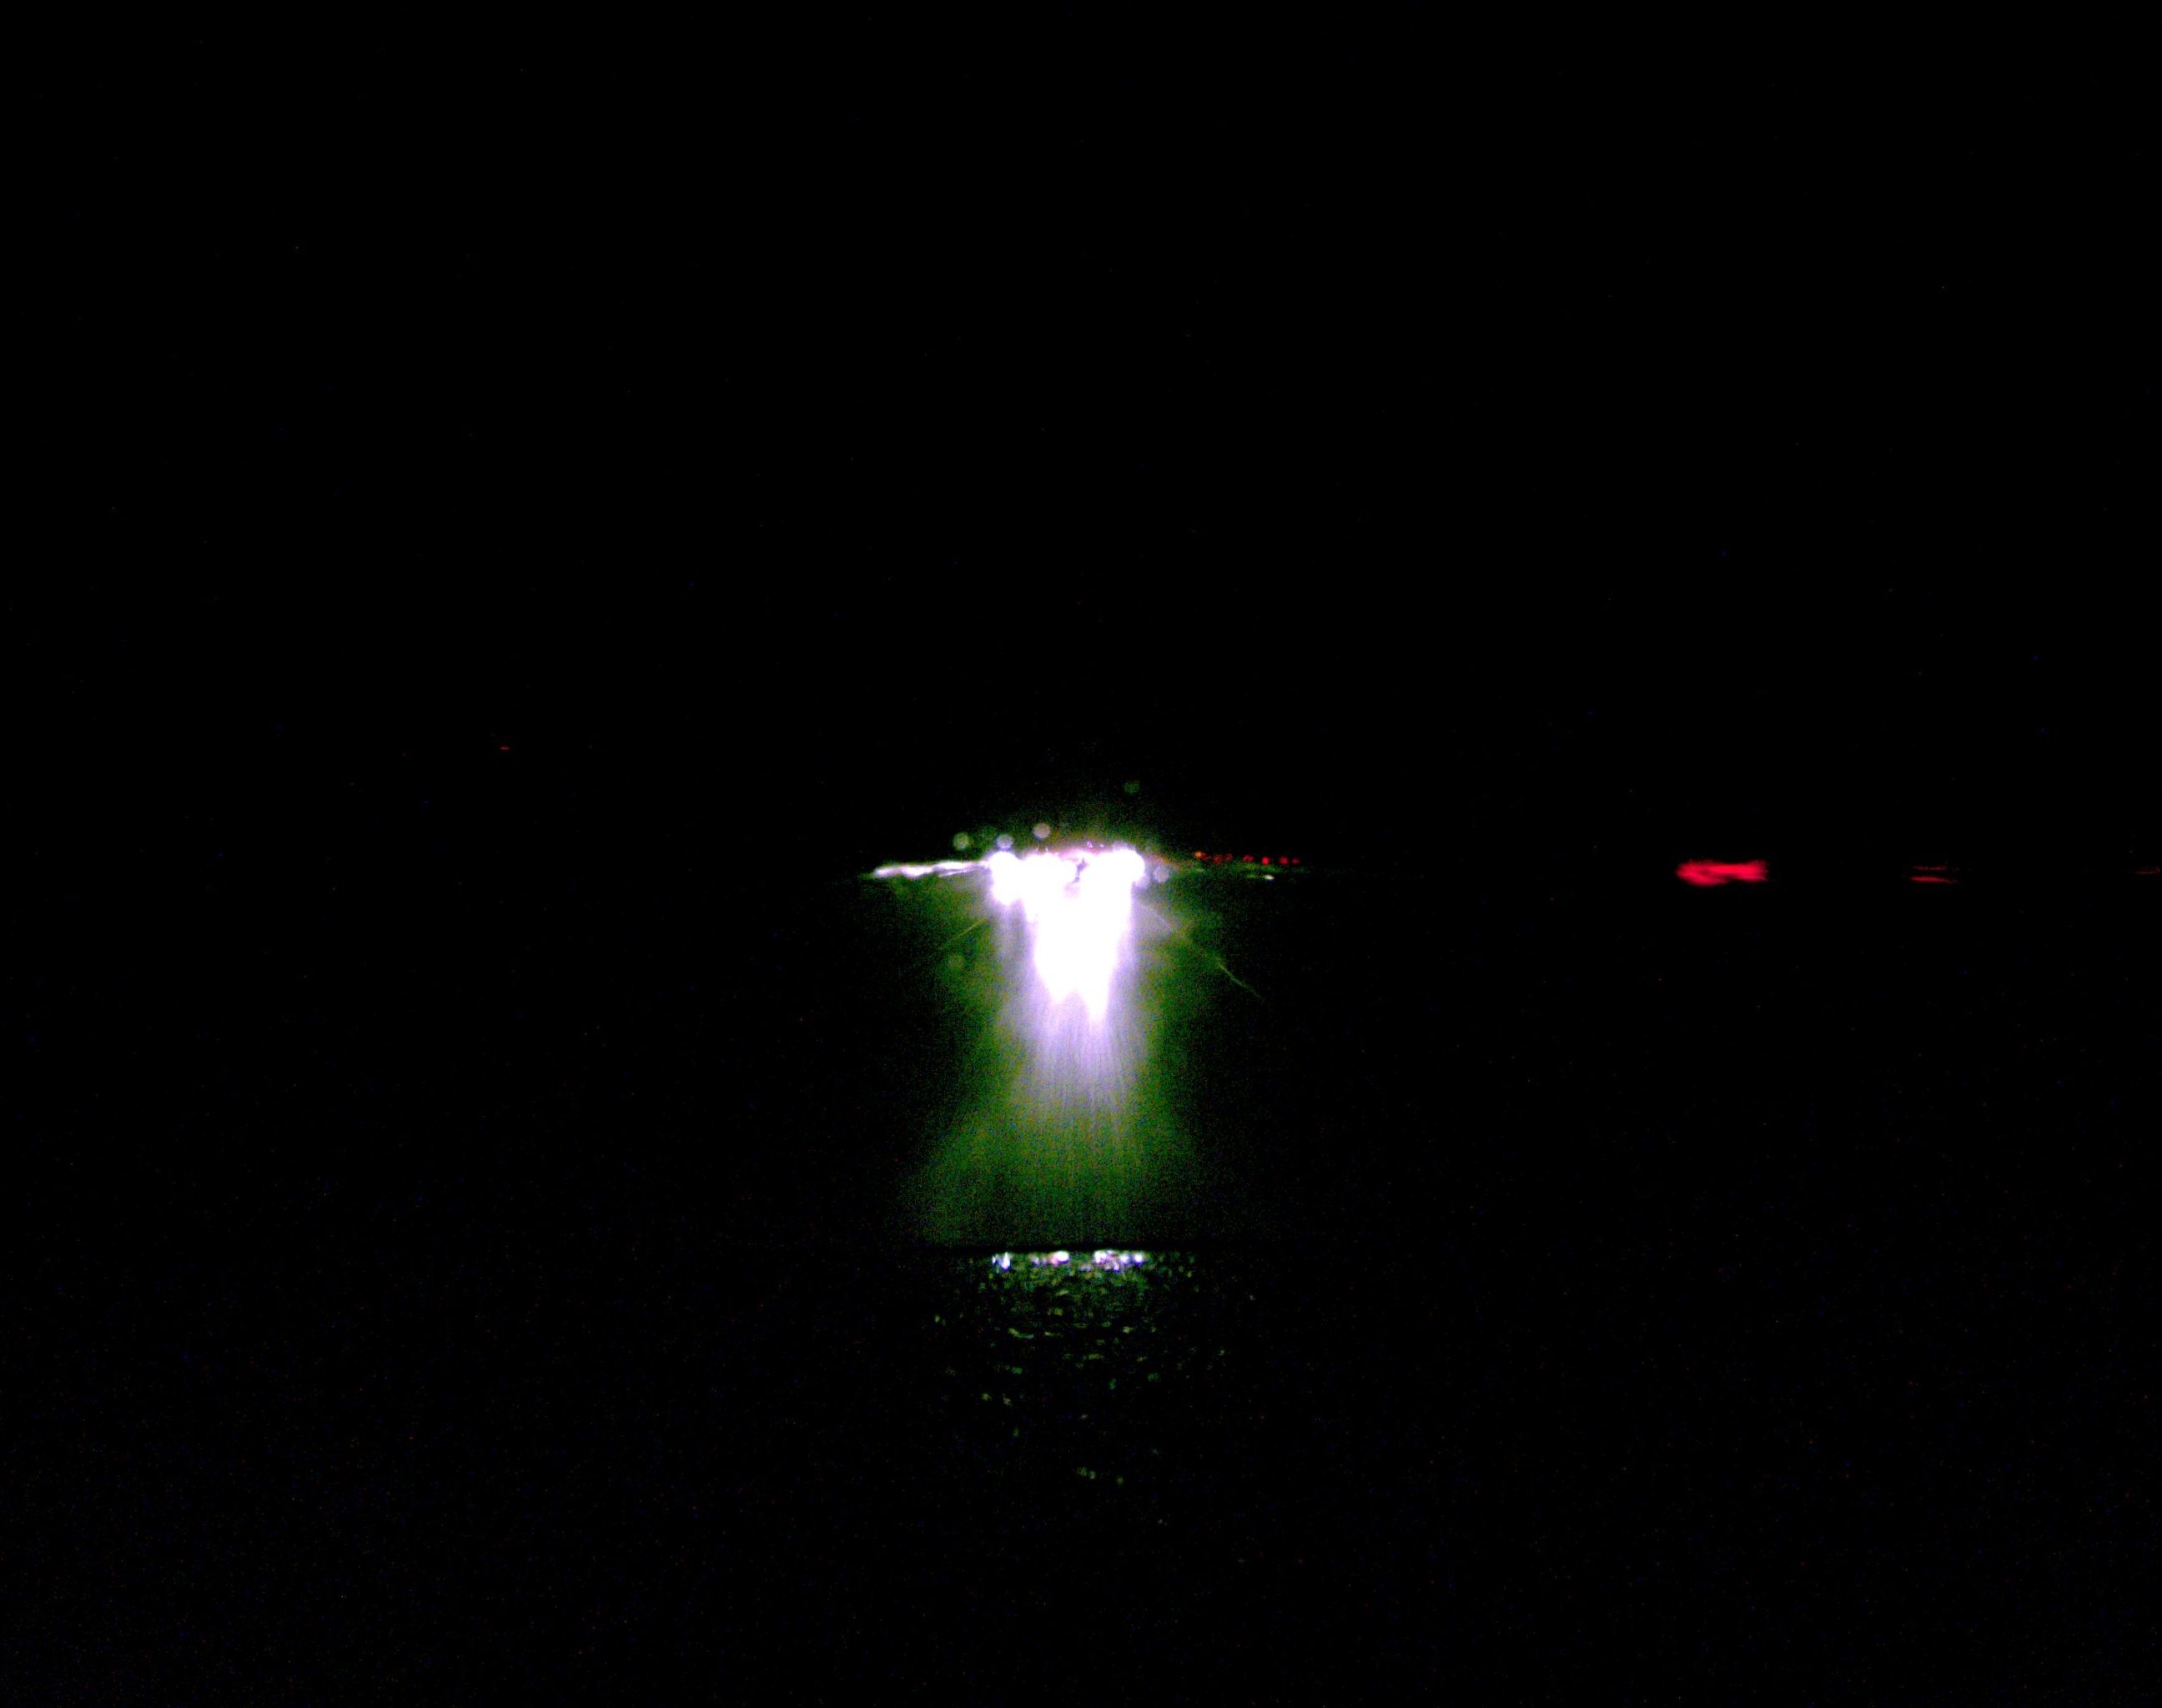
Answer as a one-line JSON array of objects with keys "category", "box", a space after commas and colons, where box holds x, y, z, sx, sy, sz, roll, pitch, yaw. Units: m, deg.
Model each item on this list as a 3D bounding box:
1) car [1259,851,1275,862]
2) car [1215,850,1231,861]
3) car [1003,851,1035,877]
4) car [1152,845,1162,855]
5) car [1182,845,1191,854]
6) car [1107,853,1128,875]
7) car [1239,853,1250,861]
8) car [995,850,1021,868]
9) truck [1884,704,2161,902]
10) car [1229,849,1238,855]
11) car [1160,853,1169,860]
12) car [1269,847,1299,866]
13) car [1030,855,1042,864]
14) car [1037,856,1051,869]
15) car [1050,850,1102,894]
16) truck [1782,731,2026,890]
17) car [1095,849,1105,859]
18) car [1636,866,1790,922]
[{"category": "car", "box": [33.020, 0.449, 134.914, 1.874, 1.701, 3.813, -2, 1, 1]}, {"category": "car", "box": [24.291, 0.252, 130.232, 1.912, 1.895, 4.144, -2, 1, 1]}, {"category": "car", "box": [-4.259, 0.665, 52.675, 1.792, 1.681, 3.999, -2, 1, 0]}, {"category": "car", "box": [25.458, -1.194, 253.710, 2.714, 3.187, 6.322, -2, 1, 2]}, {"category": "car", "box": [32.943, -1.387, 236.911, 2.159, 2.877, 4.719, -2, 1, 2]}, {"category": "car", "box": [3.187, 0.818, 66.261, 1.611, 1.775, 3.910, -2, 1, 0]}, {"category": "car", "box": [34.605, 0.630, 160.745, 1.641, 1.683, 3.412, -2, 1, 1]}, {"category": "car", "box": [-7.408, 0.487, 77.912, 1.998, 1.590, 4.652, -2, 1, 2]}, {"category": "truck", "box": [31.968, -1.484, 22.300, 3.247, 5.559, 12.793, -2, 1, 0]}, {"category": "car", "box": [47.238, -0.686, 235.293, 1.894, 1.778, 4.174, -2, 1, 2]}, {"category": "car", "box": [20.267, 0.550, 184.095, 1.722, 1.537, 3.523, -2, 1, 2]}, {"category": "car", "box": [20.364, 0.220, 76.376, 1.724, 1.744, 4.396, -2, 1, -1]}, {"category": "car", "box": [-7.822, 0.938, 131.182, 1.755, 1.563, 3.999, -2, 1, 0]}, {"category": "car", "box": [-5.662, 1.257, 116.625, 1.998, 1.852, 3.999, -2, 1, 0]}, {"category": "car", "box": [-0.199, 0.713, 32.141, 1.960, 1.655, 4.915, -2, 0, 0]}, {"category": "truck", "box": [31.938, -1.583, 29.913, 3.247, 5.560, 5.877, -2, 1, 0]}, {"category": "car", "box": [3.549, 0.001, 144.927, 1.800, 1.728, 3.999, -2, 1, 0]}, {"category": "car", "box": [20.222, 1.212, 24.557, 1.661, 1.504, 3.999, -2, 1, 0]}]
